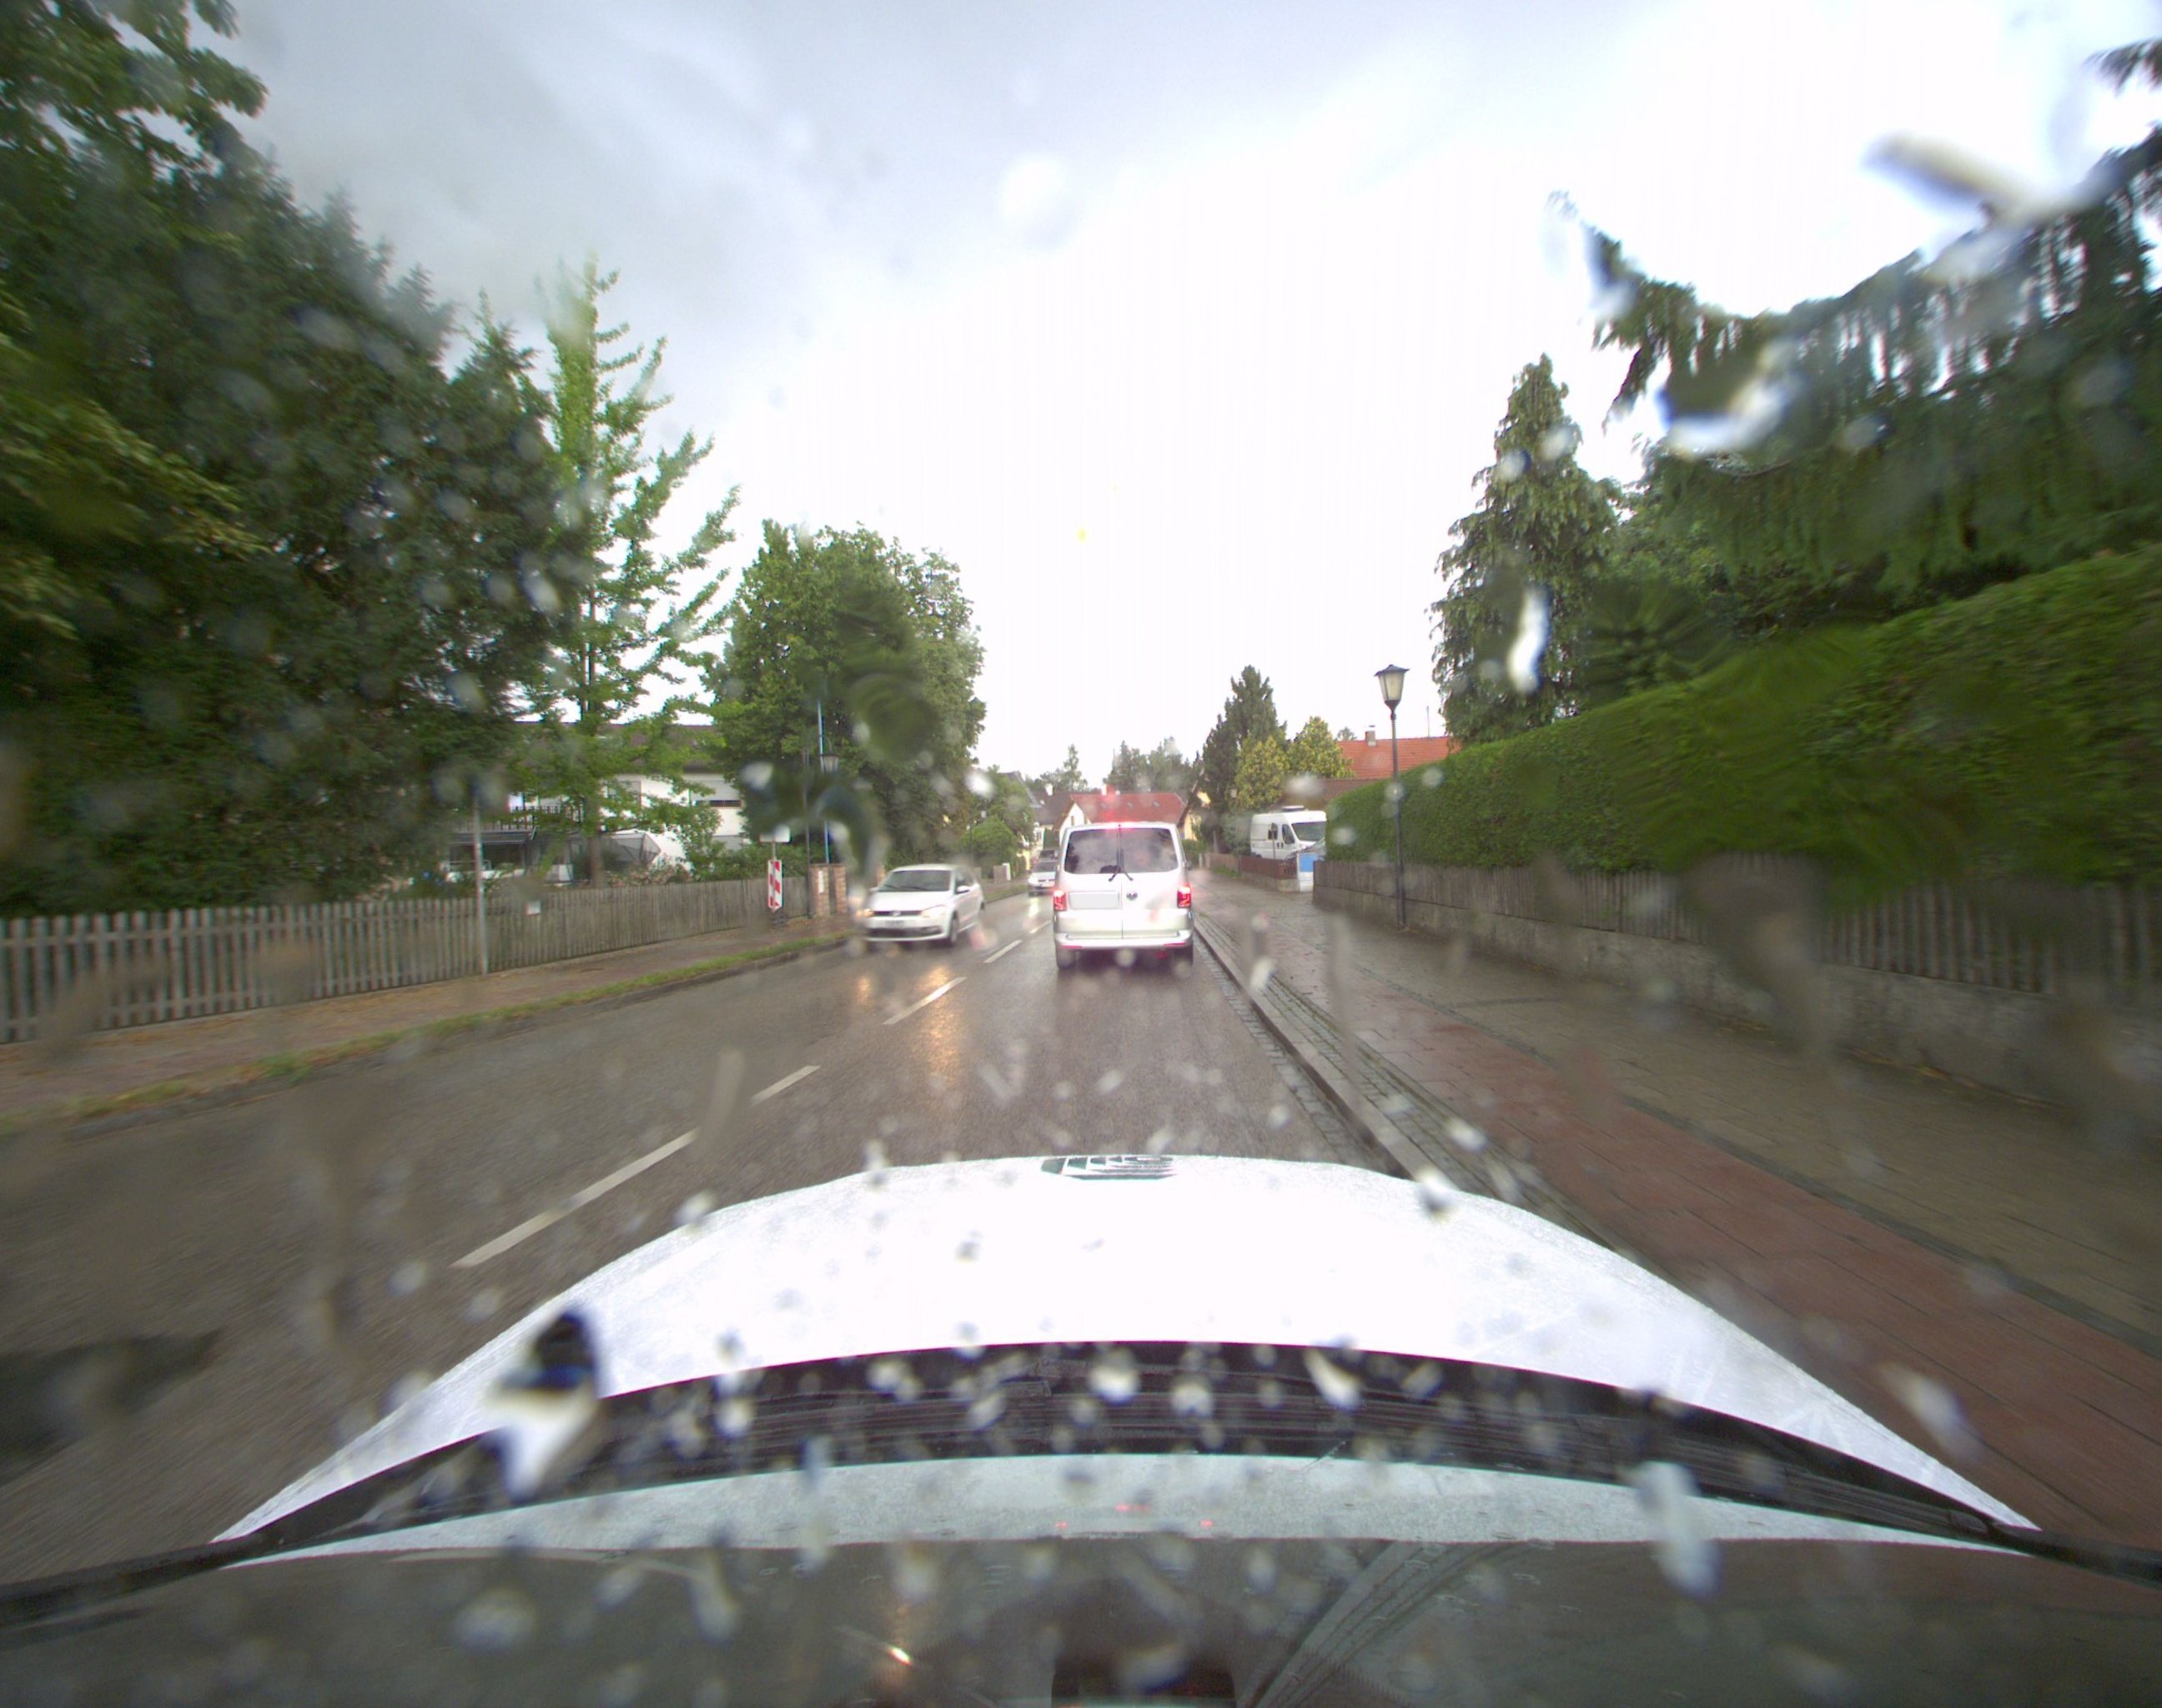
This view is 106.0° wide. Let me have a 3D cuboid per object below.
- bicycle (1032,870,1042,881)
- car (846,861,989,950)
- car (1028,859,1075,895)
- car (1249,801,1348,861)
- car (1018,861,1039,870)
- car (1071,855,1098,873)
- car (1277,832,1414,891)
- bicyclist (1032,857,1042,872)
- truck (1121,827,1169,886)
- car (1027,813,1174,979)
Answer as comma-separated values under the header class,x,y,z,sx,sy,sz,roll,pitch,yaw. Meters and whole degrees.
class,x,y,z,sx,sy,sz,roll,pitch,yaw
bicycle,-3.200,1.552,59.235,0.454,0.798,1.979,-1,0,3
car,-2.897,0.874,15.194,1.610,1.444,3.676,-1,-1,5
car,-1.235,0.977,35.357,1.709,1.442,4.002,-1,-1,2
car,8.611,-0.853,32.763,1.993,2.174,4.936,0,-1,-10
car,-7.309,1.585,112.709,1.788,1.310,3.745,0,-1,-24
car,0.373,1.107,92.225,1.998,2.014,3.977,0,-1,-16
car,8.896,0.220,27.622,4.080,1.751,1.694,-3,2,0
bicyclist,-3.222,0.755,59.335,0.585,1.021,1.061,-1,0,3
truck,3.570,0.169,46.198,2.465,3.074,6.301,-1,-1,3
car,0.445,0.546,11.967,1.791,2.014,4.006,-1,-1,6
